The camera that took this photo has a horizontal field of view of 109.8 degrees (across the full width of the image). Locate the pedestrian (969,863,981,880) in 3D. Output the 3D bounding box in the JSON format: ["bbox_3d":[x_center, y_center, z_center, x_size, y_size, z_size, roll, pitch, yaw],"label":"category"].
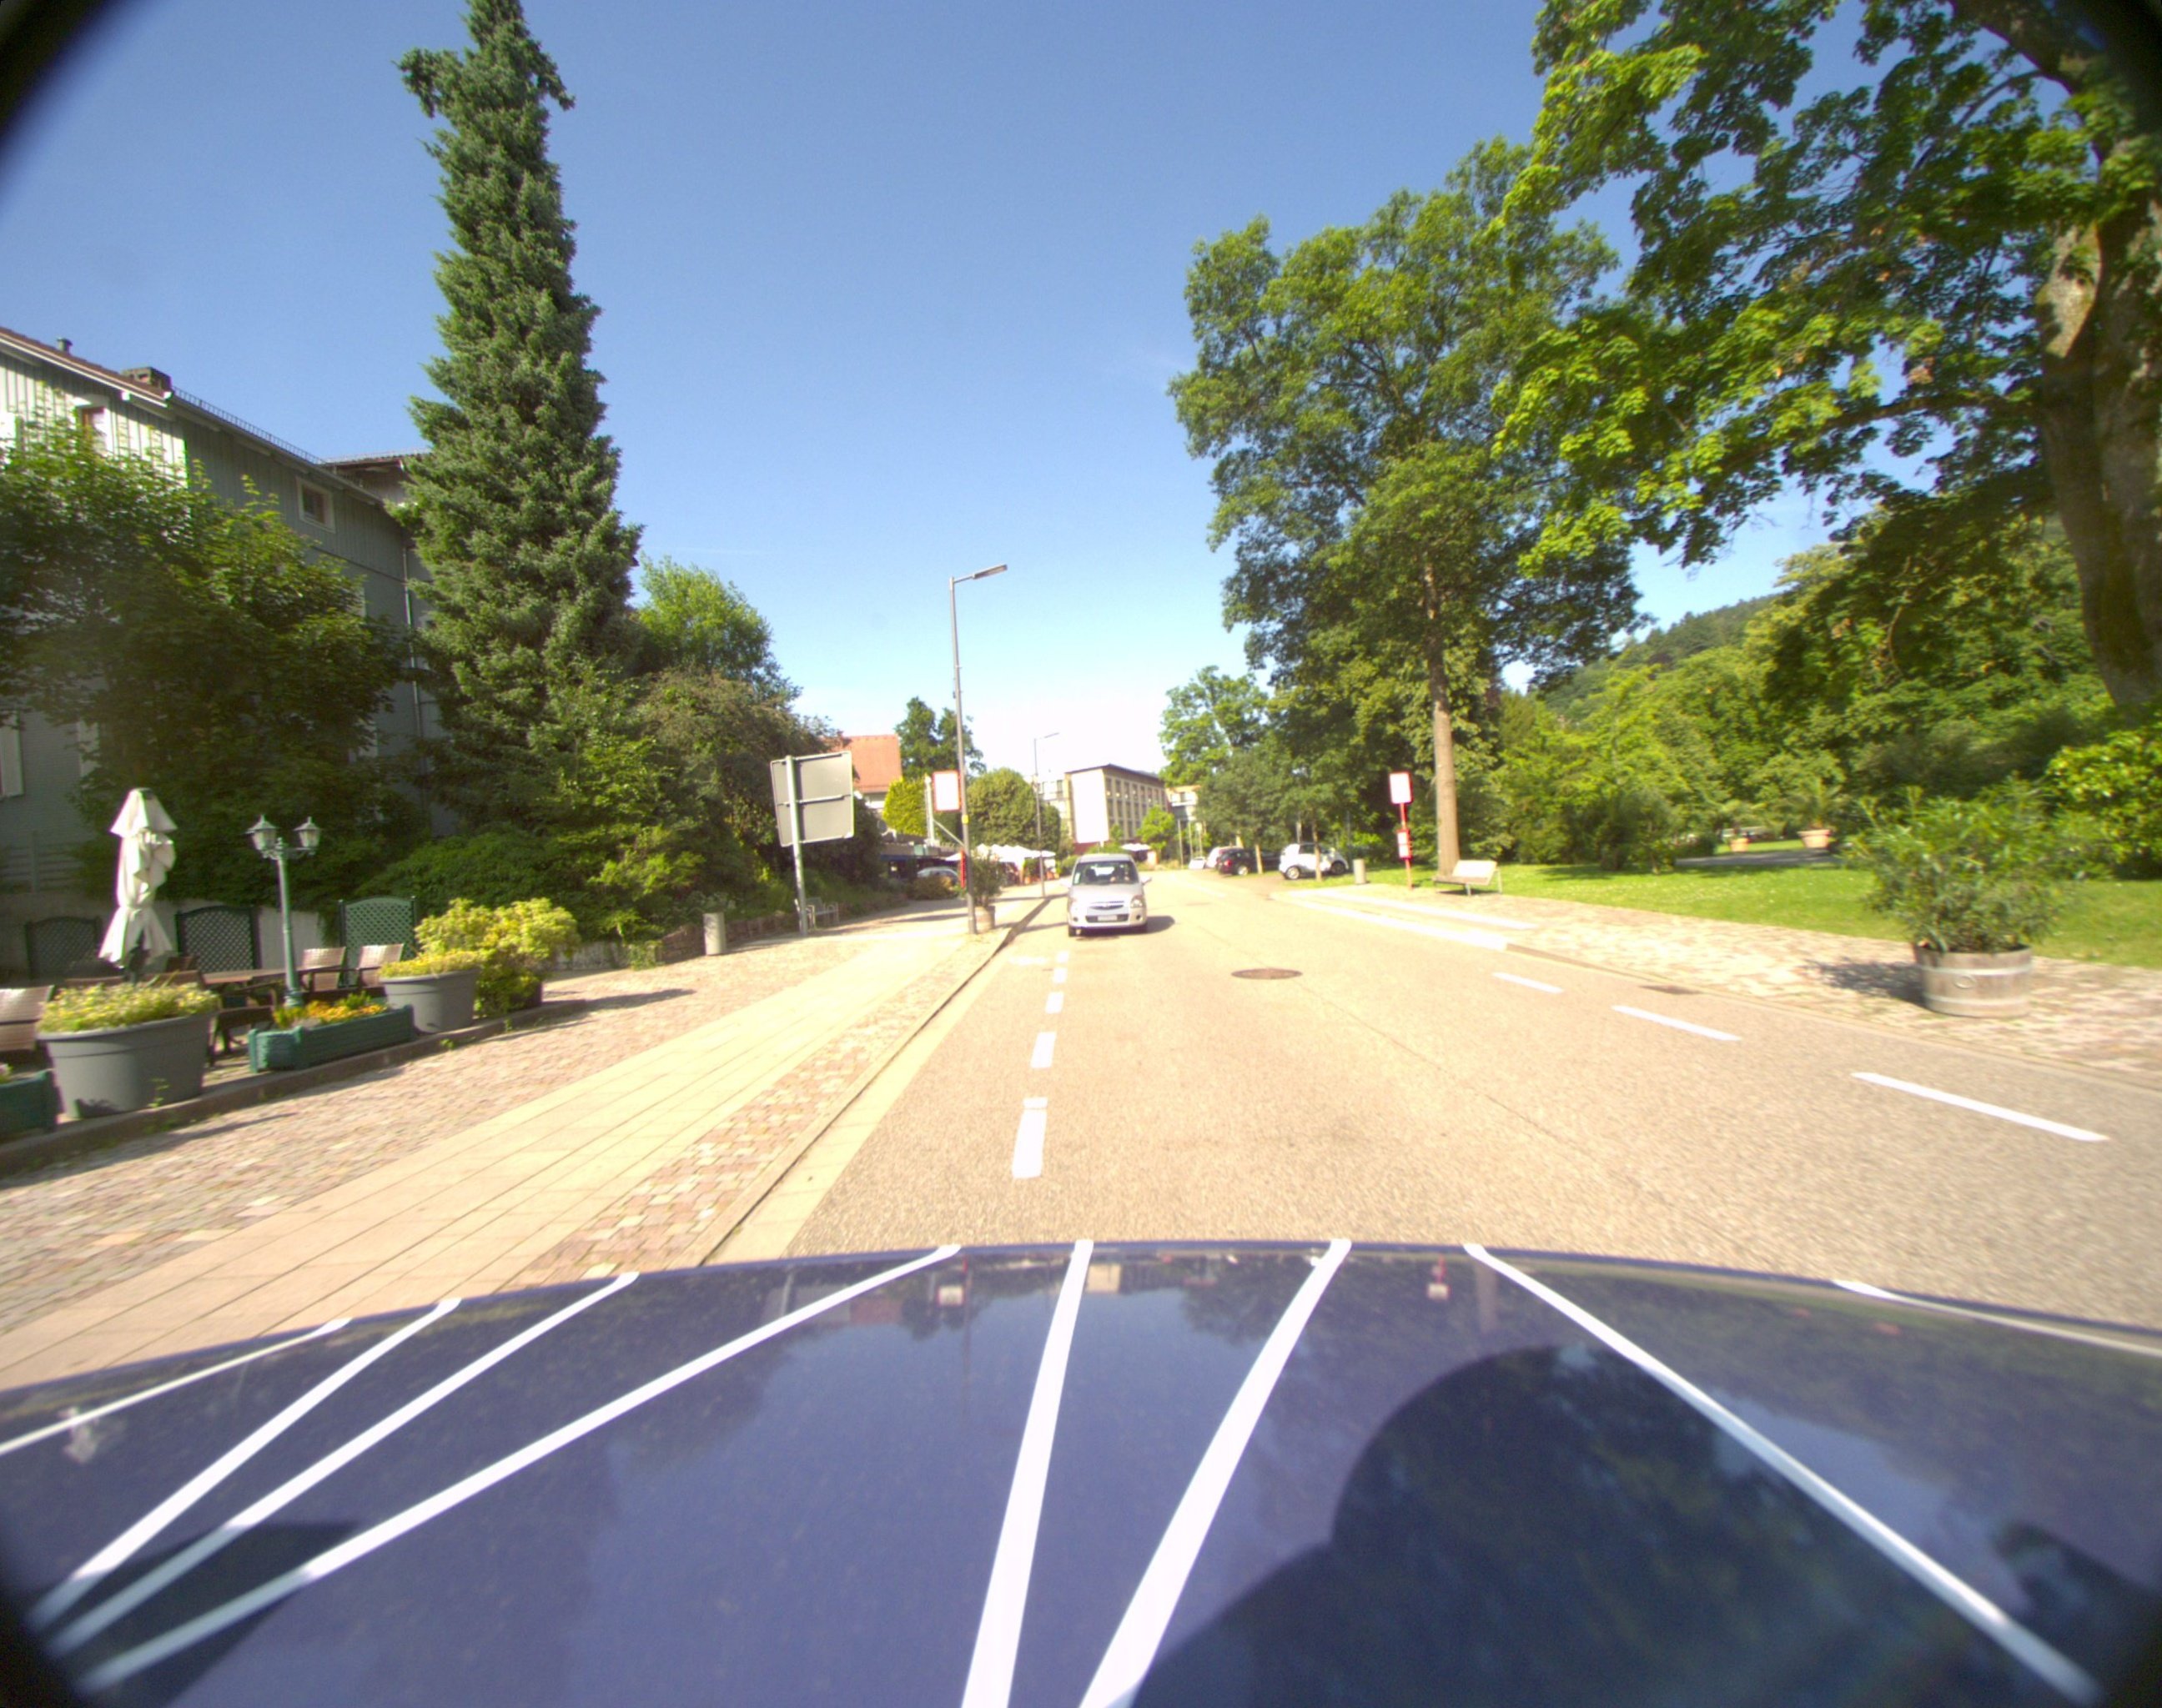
[{"bbox_3d":[-8.298,1.362,59.552,0.639,1.297,0.579,-3,0,-33],"label":"pedestrian"}]

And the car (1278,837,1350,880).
[{"bbox_3d":[10.176,0.183,33.351,2.656,1.538,1.683,-6,0,8],"label":"car"}]

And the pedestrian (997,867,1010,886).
[{"bbox_3d":[-5.395,1.547,52.608,0.812,1.253,0.700,-4,0,-6],"label":"pedestrian"}]

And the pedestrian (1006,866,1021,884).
[{"bbox_3d":[-5.101,1.586,57.563,0.810,1.253,0.701,-3,0,22],"label":"pedestrian"}]

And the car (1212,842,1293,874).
[{"bbox_3d":[10.512,0.231,46.806,4.505,1.501,1.713,-6,0,1],"label":"car"}]

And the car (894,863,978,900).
[{"bbox_3d":[-7.419,1.400,39.122,3.885,1.571,1.748,-4,0,-1],"label":"car"}]

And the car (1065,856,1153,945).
[{"bbox_3d":[0.544,0.895,16.555,1.605,1.628,4.000,-3,0,0],"label":"car"}]

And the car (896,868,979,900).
[{"bbox_3d":[-7.918,1.645,42.016,4.119,1.407,1.749,-4,0,4],"label":"car"}]

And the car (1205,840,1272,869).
[{"bbox_3d":[11.264,0.032,54.460,4.491,1.409,1.811,-8,0,13],"label":"car"}]

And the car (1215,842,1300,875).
[{"bbox_3d":[9.978,0.250,43.096,4.287,1.423,1.712,-6,0,-4],"label":"car"}]

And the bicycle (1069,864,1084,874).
[{"bbox_3d":[-0.494,1.485,76.621,1.544,0.977,0.385,-2,0,36],"label":"bicycle"}]

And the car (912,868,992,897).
[{"bbox_3d":[-7.619,1.650,45.070,4.272,1.371,1.709,-4,1,4],"label":"car"}]

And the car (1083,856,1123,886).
[{"bbox_3d":[1.319,0.954,44.437,1.739,1.488,3.931,-5,0,9],"label":"car"}]

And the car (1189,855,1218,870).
[{"bbox_3d":[14.944,1.040,92.464,1.652,1.462,4.007,-6,0,38],"label":"car"}]

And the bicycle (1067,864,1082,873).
[{"bbox_3d":[-0.683,1.455,75.573,1.544,0.904,0.385,-1,0,36],"label":"bicycle"}]

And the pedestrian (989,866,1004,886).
[{"bbox_3d":[-5.987,1.541,53.935,0.701,1.373,0.811,-4,0,-27],"label":"pedestrian"}]

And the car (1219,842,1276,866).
[{"bbox_3d":[12.606,-0.012,57.602,3.995,1.424,1.721,-6,0,8],"label":"car"}]

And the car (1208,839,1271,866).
[{"bbox_3d":[12.506,-0.136,60.167,4.492,1.654,1.810,-7,1,5],"label":"car"}]
